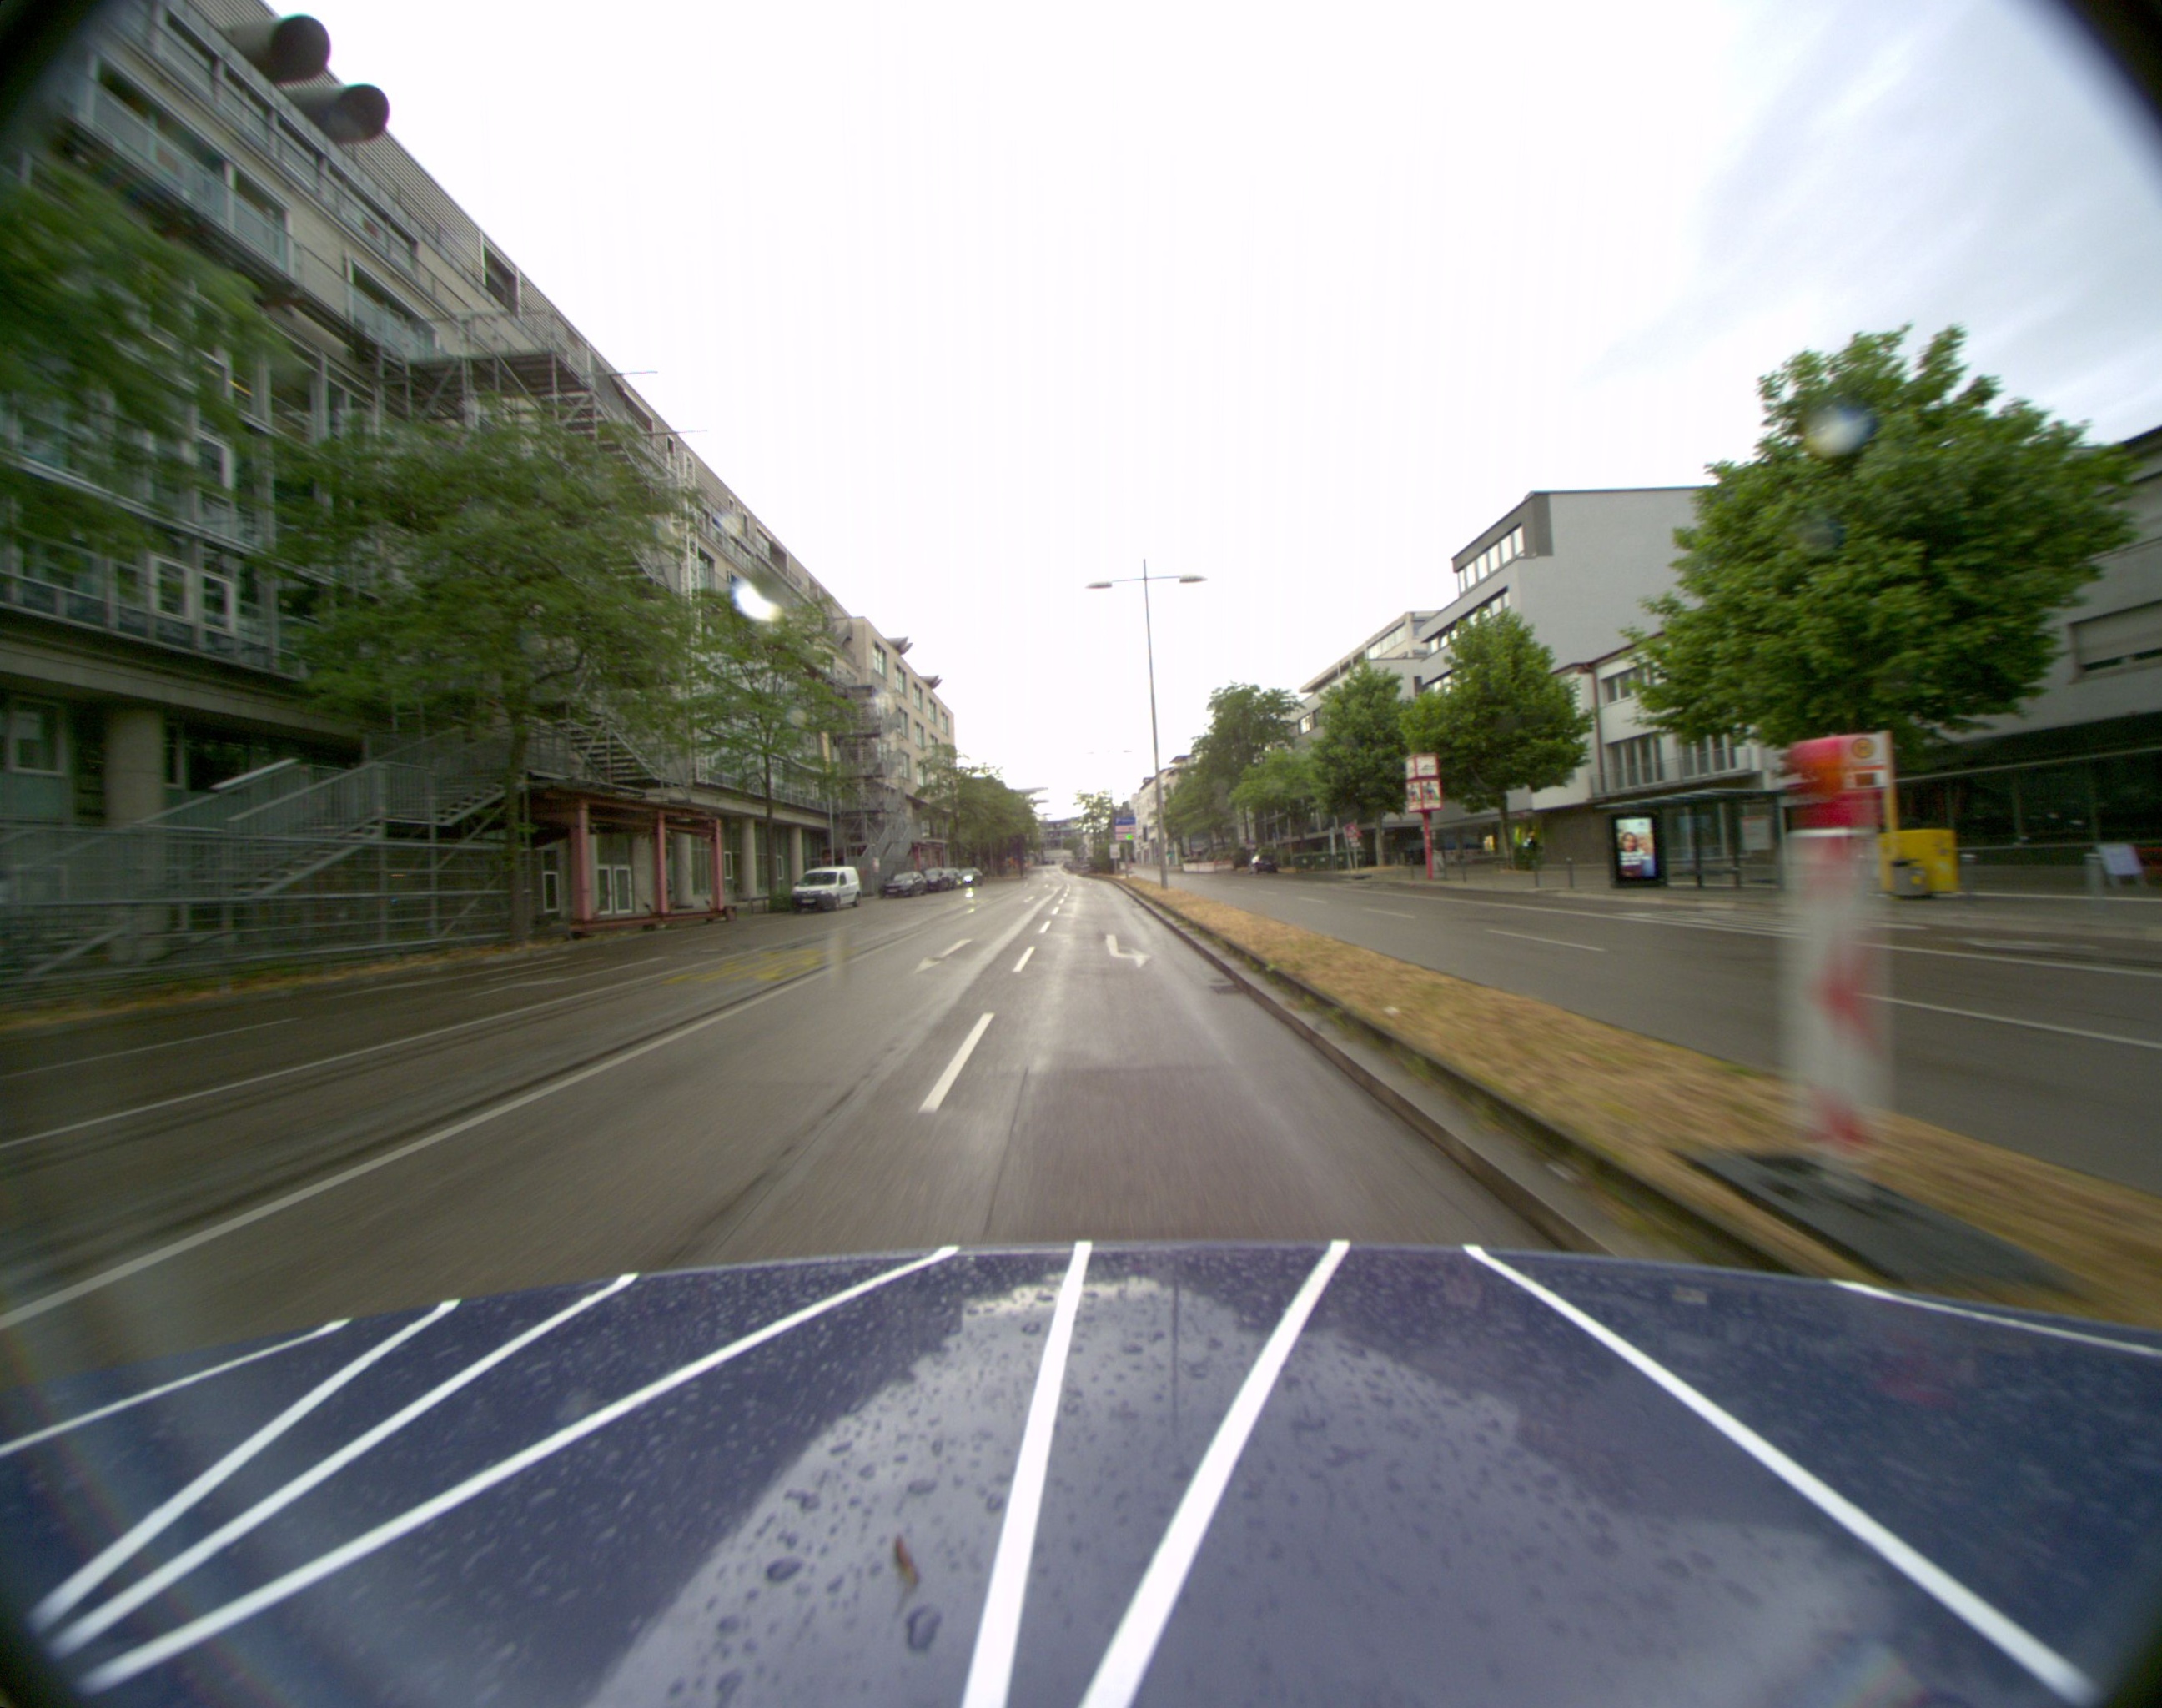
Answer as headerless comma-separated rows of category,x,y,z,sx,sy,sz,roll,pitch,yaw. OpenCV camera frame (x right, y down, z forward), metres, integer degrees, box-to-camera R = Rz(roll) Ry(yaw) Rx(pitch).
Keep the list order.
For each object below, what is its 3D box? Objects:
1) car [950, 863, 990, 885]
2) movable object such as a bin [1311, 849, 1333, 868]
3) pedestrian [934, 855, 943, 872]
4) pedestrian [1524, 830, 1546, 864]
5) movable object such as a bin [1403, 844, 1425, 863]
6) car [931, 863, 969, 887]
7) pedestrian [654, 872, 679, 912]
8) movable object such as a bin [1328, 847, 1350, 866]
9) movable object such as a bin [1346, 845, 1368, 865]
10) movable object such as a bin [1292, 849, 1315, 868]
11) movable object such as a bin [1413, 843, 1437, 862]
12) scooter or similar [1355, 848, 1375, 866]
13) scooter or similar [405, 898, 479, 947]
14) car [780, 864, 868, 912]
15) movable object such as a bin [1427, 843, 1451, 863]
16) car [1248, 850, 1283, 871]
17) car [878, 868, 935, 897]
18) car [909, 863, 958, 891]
car,-8.902,1.550,61.383,1.998,1.591,5.291,-2,-1,4
movable object such as a bin,18.894,0.328,59.626,1.281,1.418,1.088,-3,0,1
pedestrian,-17.215,1.160,91.844,0.871,2.002,0.758,-3,0,-4
pedestrian,23.596,-0.351,39.508,0.698,1.752,0.653,-2,0,3
movable object such as a bin,26.582,-0.055,60.654,1.088,1.427,1.281,-3,0,-9
car,-9.502,1.526,55.464,1.866,1.591,4.593,-2,-1,1
pedestrian,-18.204,1.655,33.399,0.677,1.732,0.653,-2,0,3
movable object such as a bin,20.244,0.193,59.651,1.281,1.418,1.088,-3,0,1
movable object such as a bin,21.637,0.063,59.642,1.281,1.479,1.088,-3,0,1
movable object such as a bin,17.454,0.379,59.626,1.362,1.418,1.088,-3,0,1
movable object such as a bin,26.768,-0.124,59.116,1.088,1.427,1.281,-3,0,-9
scooter or similar,19.556,0.220,52.302,0.777,1.114,1.324,-5,-3,2
scooter or similar,-17.268,1.835,20.584,0.633,1.154,1.547,-2,0,1
car,-10.532,1.355,31.551,1.998,1.739,4.527,-2,0,1
movable object such as a bin,27.173,-0.061,57.736,1.088,1.427,1.281,-3,0,-9
car,15.233,0.525,62.983,1.783,1.626,4.023,-2,0,-2
car,-9.847,1.582,43.295,1.873,1.429,4.922,-2,-1,3
car,-9.652,1.474,50.089,1.998,1.636,4.863,-2,-1,3
